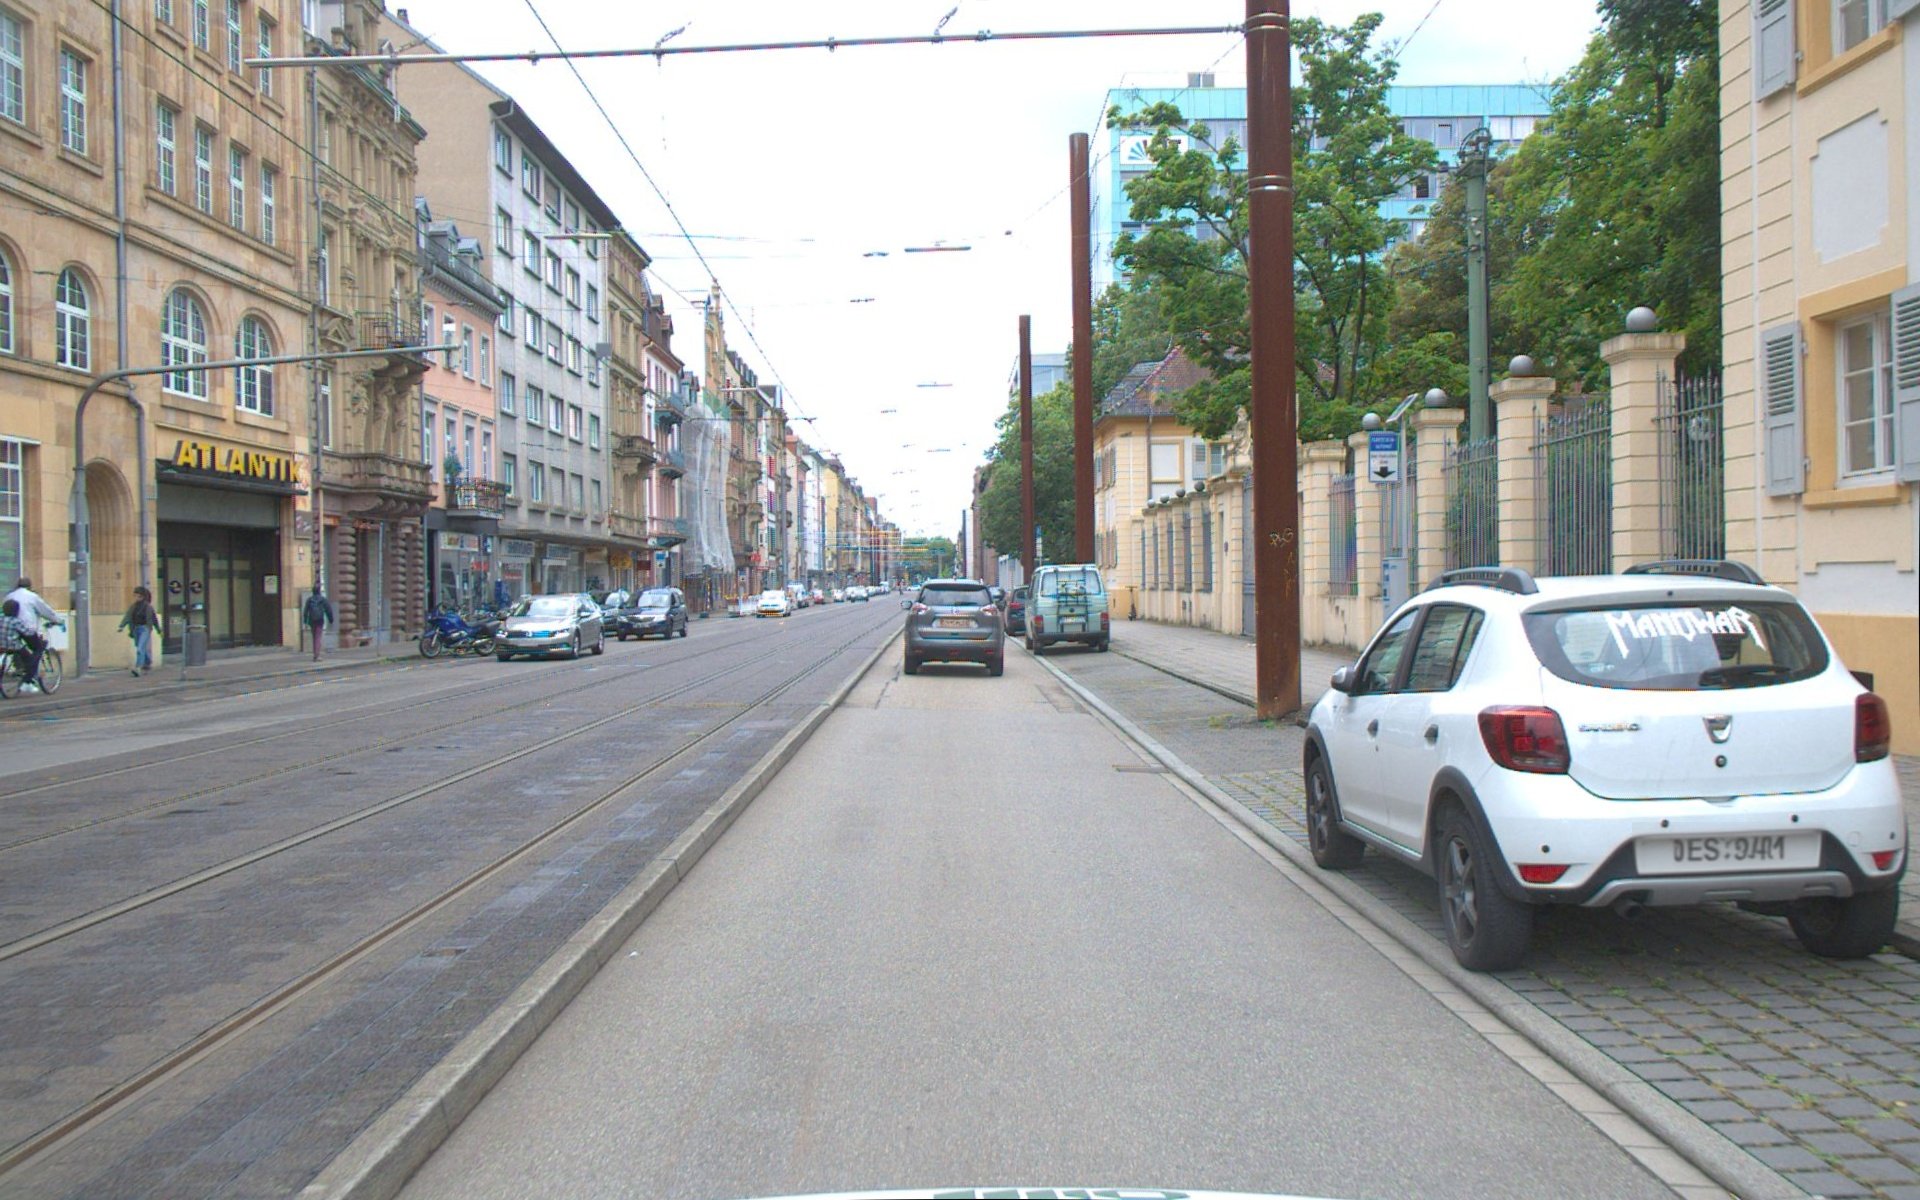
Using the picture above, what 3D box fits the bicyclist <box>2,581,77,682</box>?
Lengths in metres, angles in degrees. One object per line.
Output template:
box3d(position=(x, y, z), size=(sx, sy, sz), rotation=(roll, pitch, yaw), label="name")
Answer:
box3d(position=(-14.134, 0.475, 25.412), size=(0.598, 1.513, 0.972), rotation=(-1, 0, -1), label="bicyclist")

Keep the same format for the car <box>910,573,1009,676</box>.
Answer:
box3d(position=(-0.043, 0.405, 30.682), size=(1.714, 1.786, 3.923), rotation=(0, 0, -1), label="car")

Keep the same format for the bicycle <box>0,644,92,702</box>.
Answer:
box3d(position=(-14.125, 1.102, 25.263), size=(0.570, 0.758, 2.250), rotation=(-1, 1, -1), label="bicycle")

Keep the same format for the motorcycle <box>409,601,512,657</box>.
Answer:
box3d(position=(-12.557, 0.703, 41.604), size=(2.319, 1.325, 0.872), rotation=(-1, 0, -38), label="motorcycle")

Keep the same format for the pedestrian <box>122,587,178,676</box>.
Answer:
box3d(position=(-15.320, 0.582, 31.284), size=(0.671, 1.641, 0.742), rotation=(-1, 0, -1), label="pedestrian")

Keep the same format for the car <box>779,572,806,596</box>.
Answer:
box3d(position=(-13.141, -1.253, 130.238), size=(1.954, 1.736, 3.997), rotation=(-1, 0, -4), label="car")

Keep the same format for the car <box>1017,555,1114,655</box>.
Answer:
box3d(position=(2.461, 0.087, 39.783), size=(1.814, 2.151, 4.983), rotation=(-4, 1, -1), label="car")

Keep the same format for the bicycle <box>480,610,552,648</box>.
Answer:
box3d(position=(-12.667, 0.831, 47.224), size=(1.929, 1.018, 0.462), rotation=(-1, 0, -9), label="bicycle")

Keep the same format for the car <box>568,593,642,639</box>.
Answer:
box3d(position=(-12.699, 0.549, 59.345), size=(1.740, 1.531, 4.401), rotation=(-1, 1, -1), label="car")

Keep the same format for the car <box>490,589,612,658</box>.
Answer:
box3d(position=(-9.519, 0.501, 38.844), size=(1.723, 1.474, 4.614), rotation=(-1, 1, -1), label="car")

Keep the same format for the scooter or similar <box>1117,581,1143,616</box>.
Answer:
box3d(position=(6.317, -0.048, 61.509), size=(0.731, 1.272, 1.919), rotation=(-1, -1, -1), label="scooter or similar")

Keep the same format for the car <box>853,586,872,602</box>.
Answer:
box3d(position=(-10.525, -0.661, 178.125), size=(1.954, 1.663, 3.997), rotation=(-1, 0, -4), label="car")

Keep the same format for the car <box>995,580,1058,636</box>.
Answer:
box3d(position=(2.085, 0.225, 53.046), size=(1.714, 1.623, 3.923), rotation=(-4, 1, -1), label="car")

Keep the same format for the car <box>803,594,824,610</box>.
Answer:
box3d(position=(-14.087, 0.220, 159.164), size=(1.954, 1.490, 3.997), rotation=(-1, 0, -4), label="car")

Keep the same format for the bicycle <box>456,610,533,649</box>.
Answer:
box3d(position=(-12.602, 0.796, 44.811), size=(1.929, 1.018, 0.462), rotation=(-1, 0, -9), label="bicycle")

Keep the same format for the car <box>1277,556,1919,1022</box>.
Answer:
box3d(position=(2.844, 0.662, 7.994), size=(1.720, 1.601, 3.930), rotation=(-3, 1, -1), label="car")

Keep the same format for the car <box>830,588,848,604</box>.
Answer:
box3d(position=(-13.874, -0.448, 189.665), size=(1.954, 1.663, 3.997), rotation=(-1, 0, -4), label="car")

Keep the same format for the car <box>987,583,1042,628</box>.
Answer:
box3d(position=(1.964, 0.184, 60.362), size=(1.714, 1.466, 3.923), rotation=(-4, 1, -1), label="car")

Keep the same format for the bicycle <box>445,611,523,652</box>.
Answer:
box3d(position=(-12.474, 0.831, 43.376), size=(1.886, 1.018, 0.462), rotation=(-1, 0, -9), label="bicycle")

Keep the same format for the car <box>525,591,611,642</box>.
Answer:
box3d(position=(-12.506, 0.492, 53.039), size=(1.740, 1.531, 4.401), rotation=(-1, 1, -1), label="car")

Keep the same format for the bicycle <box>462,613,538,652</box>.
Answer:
box3d(position=(-12.618, 0.895, 45.389), size=(1.929, 1.018, 0.462), rotation=(-1, 0, -9), label="bicycle")

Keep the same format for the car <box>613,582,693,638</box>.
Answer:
box3d(position=(-9.814, 0.278, 53.200), size=(1.723, 1.701, 4.614), rotation=(-1, 1, -1), label="car")

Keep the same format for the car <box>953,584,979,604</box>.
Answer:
box3d(position=(0.422, -0.444, 121.400), size=(1.740, 1.445, 4.134), rotation=(-1, 1, -1), label="car")

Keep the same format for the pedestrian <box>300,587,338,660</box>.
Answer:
box3d(position=(-14.404, 0.517, 37.156), size=(0.556, 1.626, 0.718), rotation=(-1, 0, -1), label="pedestrian")

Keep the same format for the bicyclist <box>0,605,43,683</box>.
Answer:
box3d(position=(-14.122, 0.654, 24.596), size=(0.598, 1.137, 0.659), rotation=(-1, 0, -1), label="bicyclist")

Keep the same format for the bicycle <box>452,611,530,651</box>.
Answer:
box3d(position=(-12.513, 0.813, 44.135), size=(1.929, 1.018, 0.462), rotation=(-1, 0, -9), label="bicycle")

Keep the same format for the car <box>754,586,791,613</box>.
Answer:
box3d(position=(-10.339, -0.055, 91.403), size=(1.653, 1.445, 4.134), rotation=(-1, 1, -1), label="car")
